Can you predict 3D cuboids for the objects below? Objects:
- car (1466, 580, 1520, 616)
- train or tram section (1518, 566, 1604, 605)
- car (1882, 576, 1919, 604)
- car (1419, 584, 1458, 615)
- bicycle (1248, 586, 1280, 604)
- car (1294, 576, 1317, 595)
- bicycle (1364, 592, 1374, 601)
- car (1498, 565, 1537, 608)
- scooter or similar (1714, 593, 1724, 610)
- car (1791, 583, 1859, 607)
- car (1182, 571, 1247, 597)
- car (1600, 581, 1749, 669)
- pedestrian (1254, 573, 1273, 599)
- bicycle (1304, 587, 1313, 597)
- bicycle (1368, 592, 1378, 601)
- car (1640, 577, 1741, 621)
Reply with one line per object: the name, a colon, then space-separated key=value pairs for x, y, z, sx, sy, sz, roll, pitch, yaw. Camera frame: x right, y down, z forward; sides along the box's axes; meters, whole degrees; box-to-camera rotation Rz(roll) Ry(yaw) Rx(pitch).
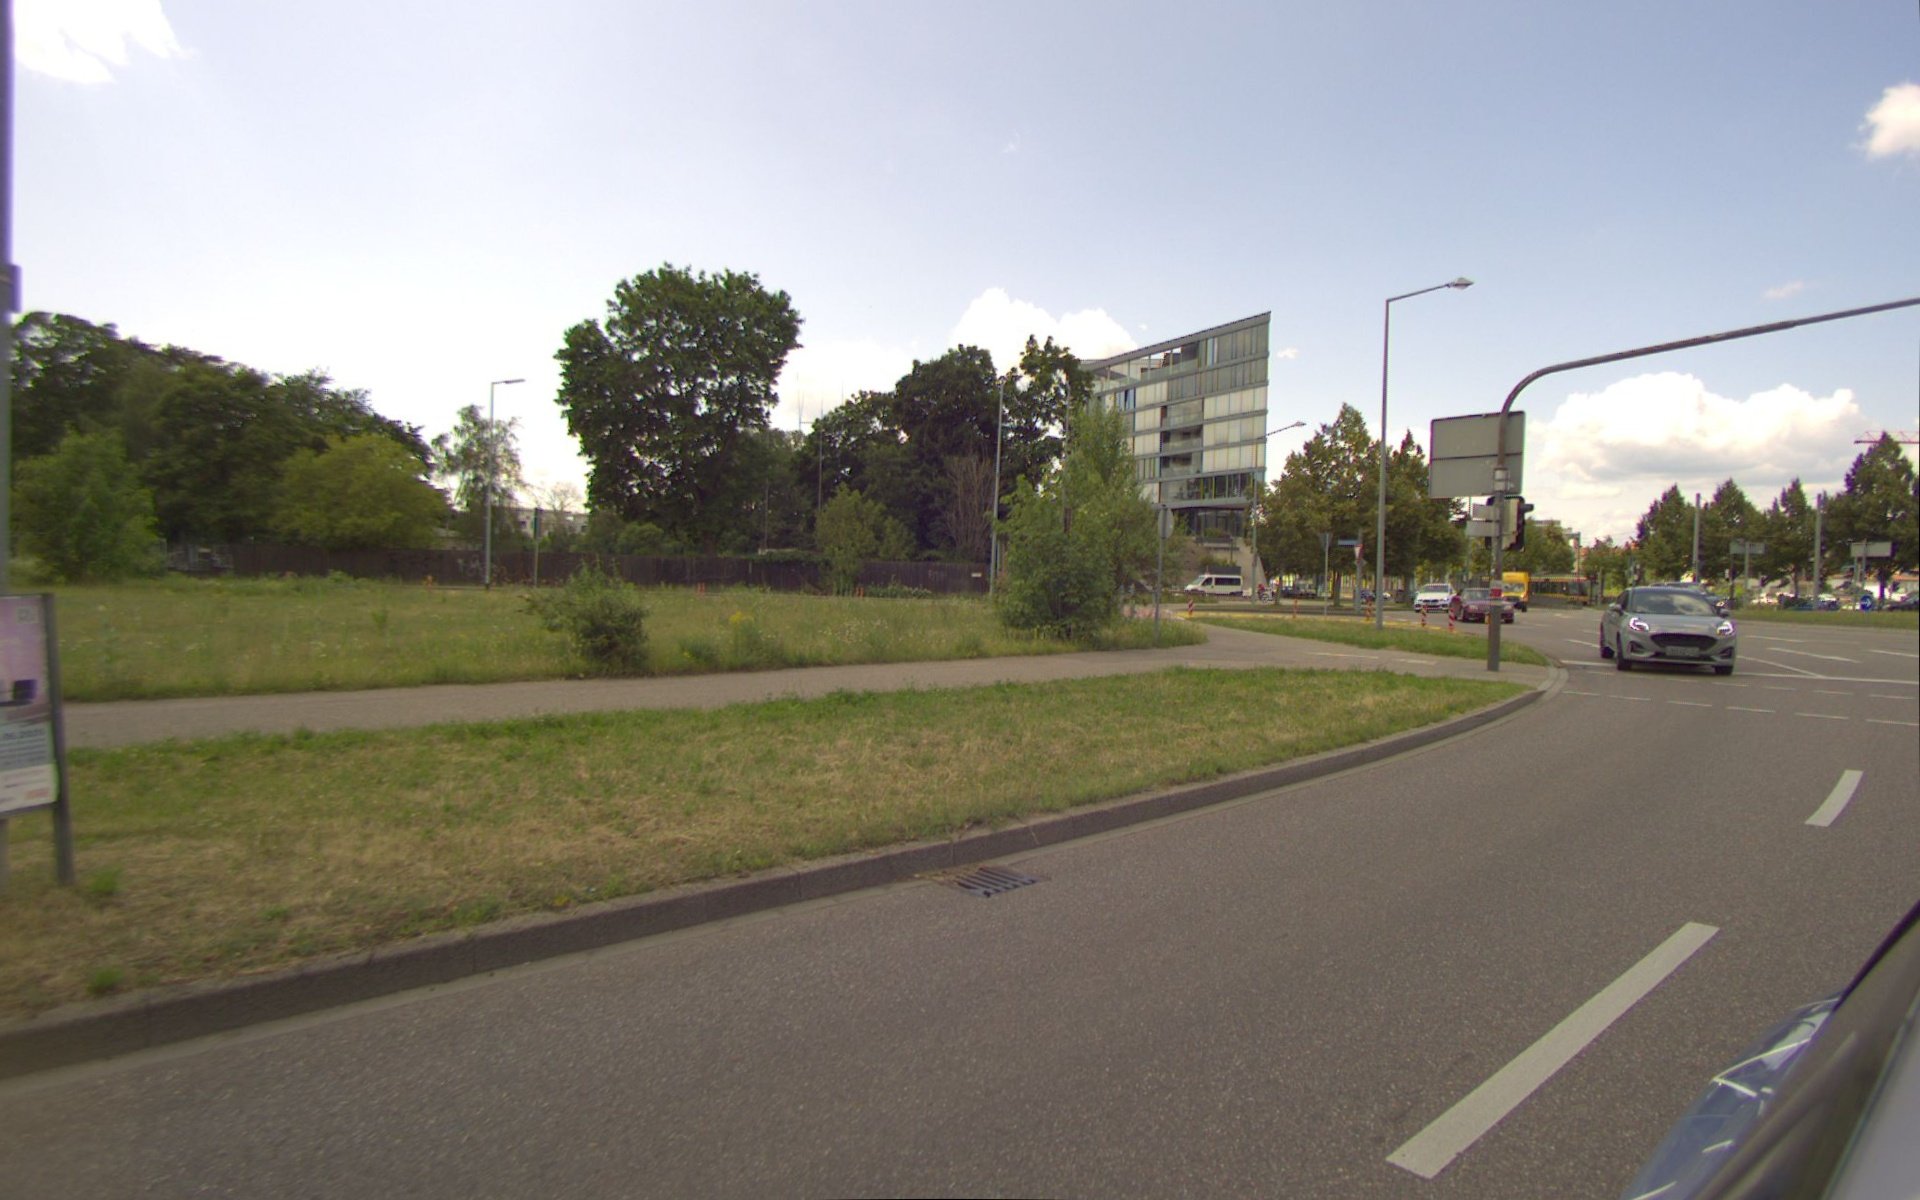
car: x=20.512 y=-0.116 z=39.047 sx=1.658 sy=1.277 sz=4.056 roll=2 pitch=2 yaw=26
train or tram section: x=64.177 y=-1.554 z=108.586 sx=2.803 sy=3.786 sz=13.449 roll=1 pitch=1 yaw=7
car: x=59.924 y=-0.551 z=61.780 sx=5.027 sy=1.696 sz=1.979 roll=2 pitch=1 yaw=30
car: x=25.725 y=-0.050 z=54.353 sx=1.659 sy=1.619 sz=4.087 roll=0 pitch=1 yaw=28
bicycle: x=25.492 y=-0.406 z=84.858 sx=2.362 sy=1.259 sz=0.814 roll=-6 pitch=1 yaw=-16
car: x=45.931 y=-1.963 z=134.491 sx=2.129 sy=2.424 sz=6.256 roll=-1 pitch=1 yaw=12
bicycle: x=36.019 y=-0.312 z=89.194 sx=0.352 sy=0.836 sz=1.473 roll=1 pitch=1 yaw=2
car: x=40.446 y=-1.017 z=73.517 sx=2.265 sy=2.888 sz=7.186 roll=2 pitch=2 yaw=28
scooter or similar: x=64.986 y=0.121 z=86.670 sx=0.415 sy=1.318 sz=1.333 roll=1 pitch=3 yaw=28
car: x=70.751 y=-0.398 z=82.894 sx=1.817 sy=1.813 sz=4.719 roll=1 pitch=2 yaw=6
car: x=22.182 y=-1.394 z=88.179 sx=5.044 sy=2.175 sz=2.153 roll=1 pitch=0 yaw=-11
car: x=13.859 y=0.400 z=19.870 sx=1.658 sy=1.489 sz=4.057 roll=2 pitch=2 yaw=25
pedestrian: x=25.465 y=-1.180 z=84.846 sx=1.206 sy=2.039 sz=0.756 roll=-3 pitch=0 yaw=-19
bicycle: x=39.247 y=-0.917 z=113.909 sx=0.507 sy=1.102 sz=1.747 roll=2 pitch=1 yaw=4
bicycle: x=36.256 y=-0.309 z=88.800 sx=0.352 sy=0.836 sz=1.473 roll=1 pitch=1 yaw=2
car: x=28.583 y=-0.077 z=39.746 sx=1.749 sy=1.618 sz=4.113 roll=-1 pitch=2 yaw=13
